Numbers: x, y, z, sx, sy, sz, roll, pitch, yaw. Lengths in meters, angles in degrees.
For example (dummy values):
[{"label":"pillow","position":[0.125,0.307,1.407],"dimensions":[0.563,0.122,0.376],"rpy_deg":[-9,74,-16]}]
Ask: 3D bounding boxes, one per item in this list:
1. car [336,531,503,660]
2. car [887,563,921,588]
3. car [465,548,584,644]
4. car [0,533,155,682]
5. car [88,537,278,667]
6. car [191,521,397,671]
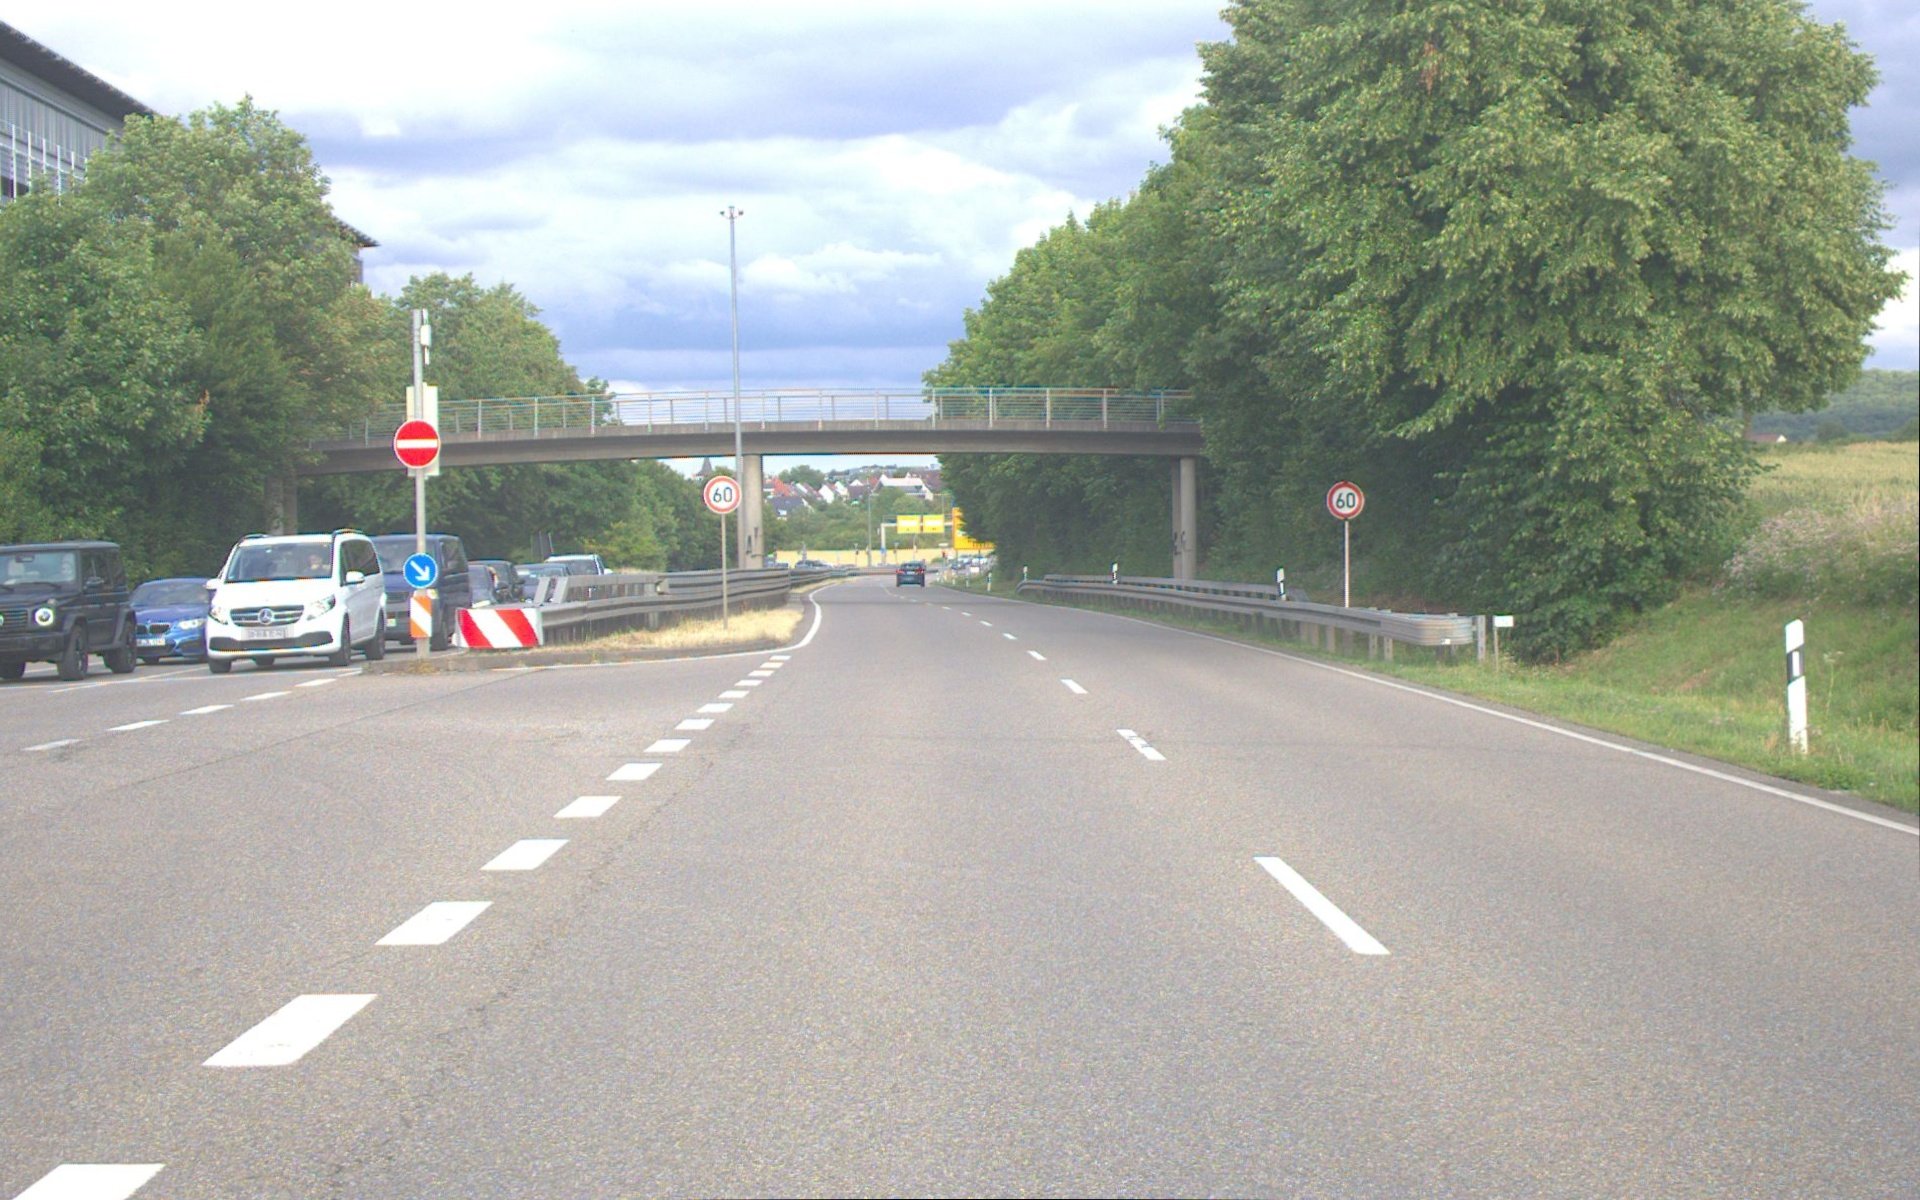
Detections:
[{"label":"car","position":[-8.905,-0.094,57.092],"dimensions":[2.083,2.007,5.217],"rpy_deg":[1,0,-2]},{"label":"car","position":[-3.583,-1.575,219.138],"dimensions":[1.879,1.547,4.001],"rpy_deg":[1,0,-4]},{"label":"car","position":[-9.541,-0.105,75.638],"dimensions":[2.083,2.007,5.217],"rpy_deg":[1,0,-2]},{"label":"car","position":[-13.117,0.069,49.245],"dimensions":[2.083,2.007,5.217],"rpy_deg":[1,0,-2]},{"label":"car","position":[-12.749,0.008,56.746],"dimensions":[2.083,2.007,5.217],"rpy_deg":[1,0,-2]},{"label":"car","position":[-9.483,-0.078,49.354],"dimensions":[2.083,2.007,5.217],"rpy_deg":[1,0,-2]}]
